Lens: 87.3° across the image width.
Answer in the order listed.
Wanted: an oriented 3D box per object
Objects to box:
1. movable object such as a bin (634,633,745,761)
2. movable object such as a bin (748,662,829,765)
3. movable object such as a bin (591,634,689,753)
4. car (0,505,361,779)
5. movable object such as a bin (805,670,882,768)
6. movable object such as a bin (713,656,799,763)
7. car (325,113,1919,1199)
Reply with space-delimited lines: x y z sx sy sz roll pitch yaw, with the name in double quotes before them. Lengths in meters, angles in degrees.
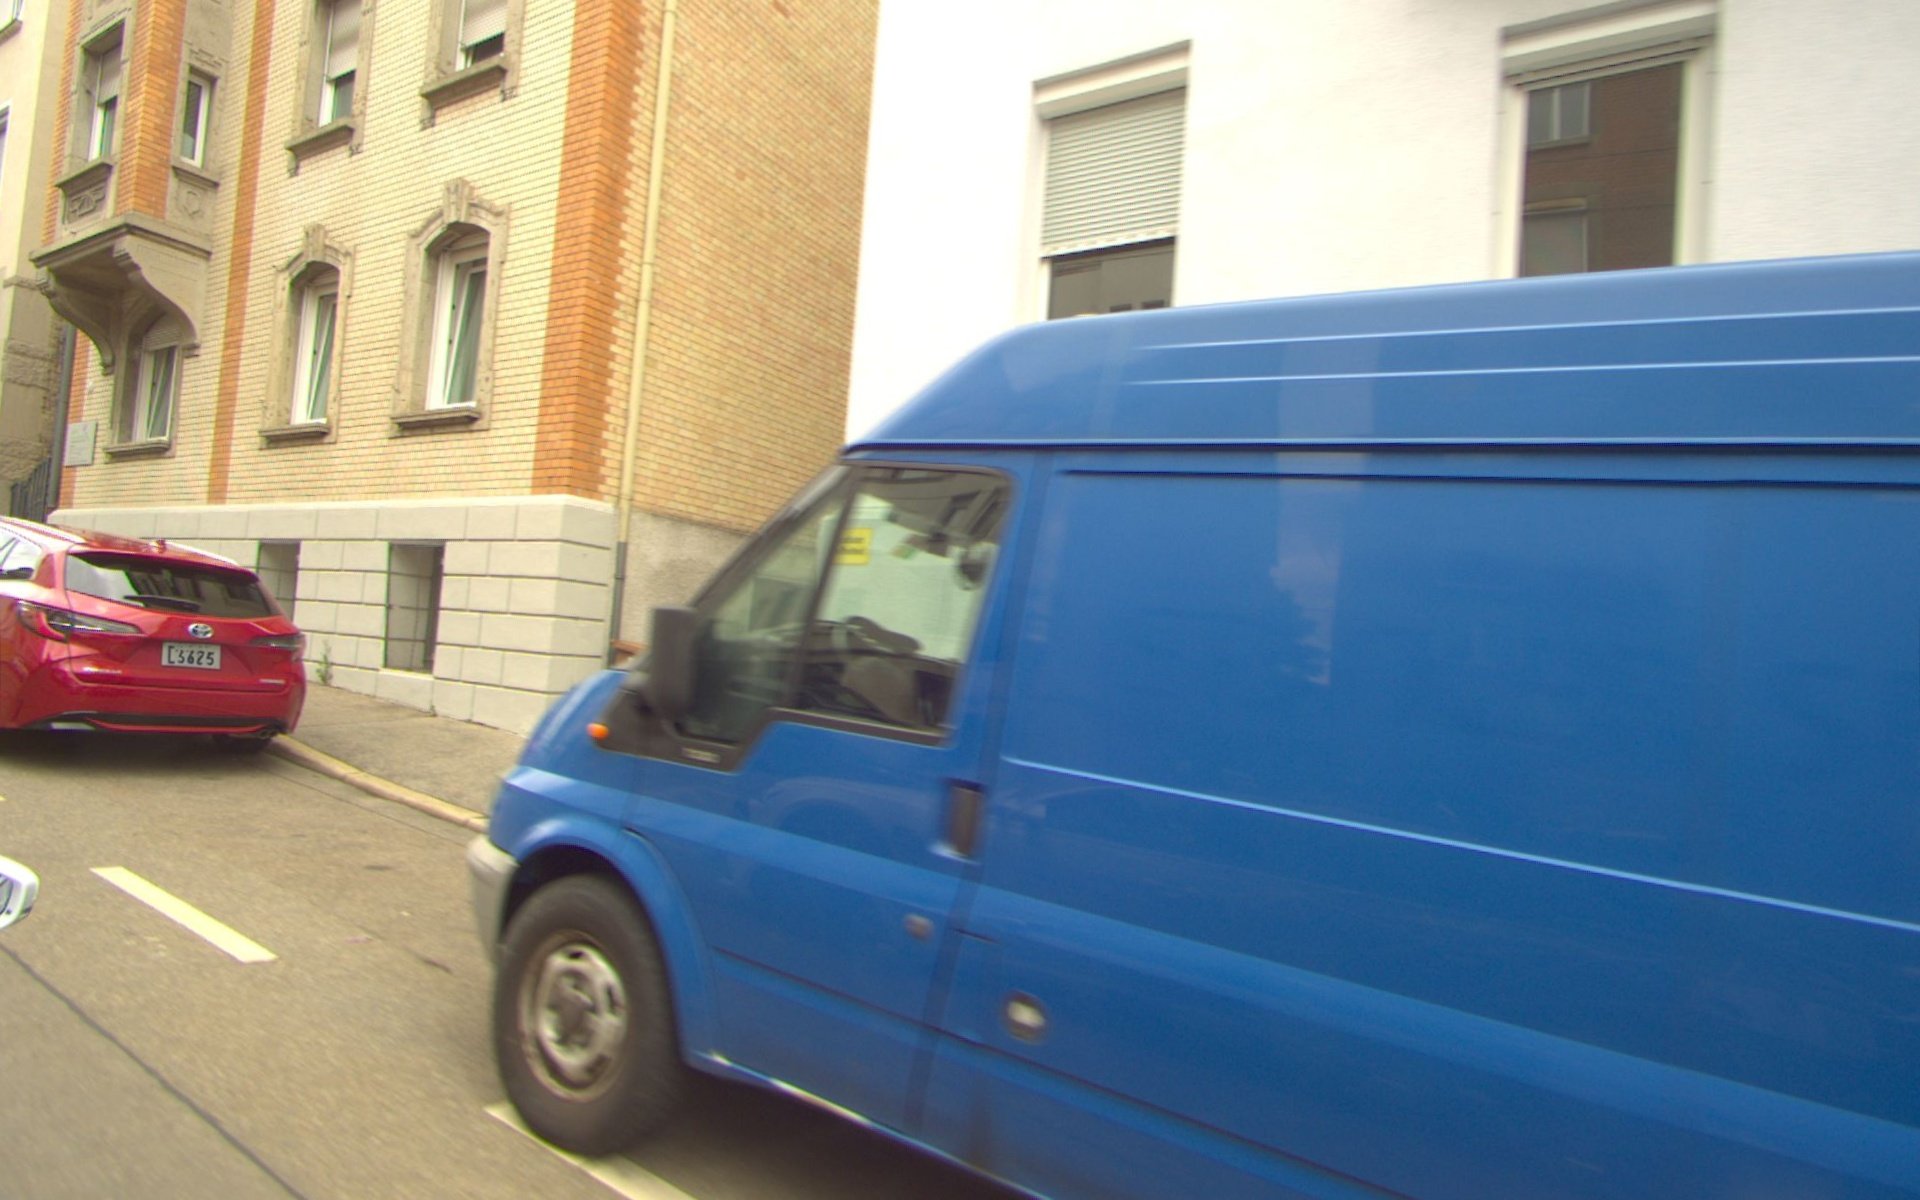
"movable object such as a bin" -2.441 0.877 9.091 0.739 1.045 0.462 4 -6 31
"movable object such as a bin" -1.723 1.139 10.126 0.531 0.949 0.449 4 -6 31
"movable object such as a bin" -2.781 0.817 8.757 0.531 0.949 0.449 4 -6 31
"car" -6.659 0.147 7.449 4.513 1.491 1.785 6 -4 32
"movable object such as a bin" -1.226 1.260 10.646 0.531 0.949 0.449 4 -6 31
"movable object such as a bin" -1.969 1.059 9.719 0.531 0.949 0.449 4 -6 31
"car" 0.681 0.523 2.846 4.973 2.404 1.997 6 -2 32
